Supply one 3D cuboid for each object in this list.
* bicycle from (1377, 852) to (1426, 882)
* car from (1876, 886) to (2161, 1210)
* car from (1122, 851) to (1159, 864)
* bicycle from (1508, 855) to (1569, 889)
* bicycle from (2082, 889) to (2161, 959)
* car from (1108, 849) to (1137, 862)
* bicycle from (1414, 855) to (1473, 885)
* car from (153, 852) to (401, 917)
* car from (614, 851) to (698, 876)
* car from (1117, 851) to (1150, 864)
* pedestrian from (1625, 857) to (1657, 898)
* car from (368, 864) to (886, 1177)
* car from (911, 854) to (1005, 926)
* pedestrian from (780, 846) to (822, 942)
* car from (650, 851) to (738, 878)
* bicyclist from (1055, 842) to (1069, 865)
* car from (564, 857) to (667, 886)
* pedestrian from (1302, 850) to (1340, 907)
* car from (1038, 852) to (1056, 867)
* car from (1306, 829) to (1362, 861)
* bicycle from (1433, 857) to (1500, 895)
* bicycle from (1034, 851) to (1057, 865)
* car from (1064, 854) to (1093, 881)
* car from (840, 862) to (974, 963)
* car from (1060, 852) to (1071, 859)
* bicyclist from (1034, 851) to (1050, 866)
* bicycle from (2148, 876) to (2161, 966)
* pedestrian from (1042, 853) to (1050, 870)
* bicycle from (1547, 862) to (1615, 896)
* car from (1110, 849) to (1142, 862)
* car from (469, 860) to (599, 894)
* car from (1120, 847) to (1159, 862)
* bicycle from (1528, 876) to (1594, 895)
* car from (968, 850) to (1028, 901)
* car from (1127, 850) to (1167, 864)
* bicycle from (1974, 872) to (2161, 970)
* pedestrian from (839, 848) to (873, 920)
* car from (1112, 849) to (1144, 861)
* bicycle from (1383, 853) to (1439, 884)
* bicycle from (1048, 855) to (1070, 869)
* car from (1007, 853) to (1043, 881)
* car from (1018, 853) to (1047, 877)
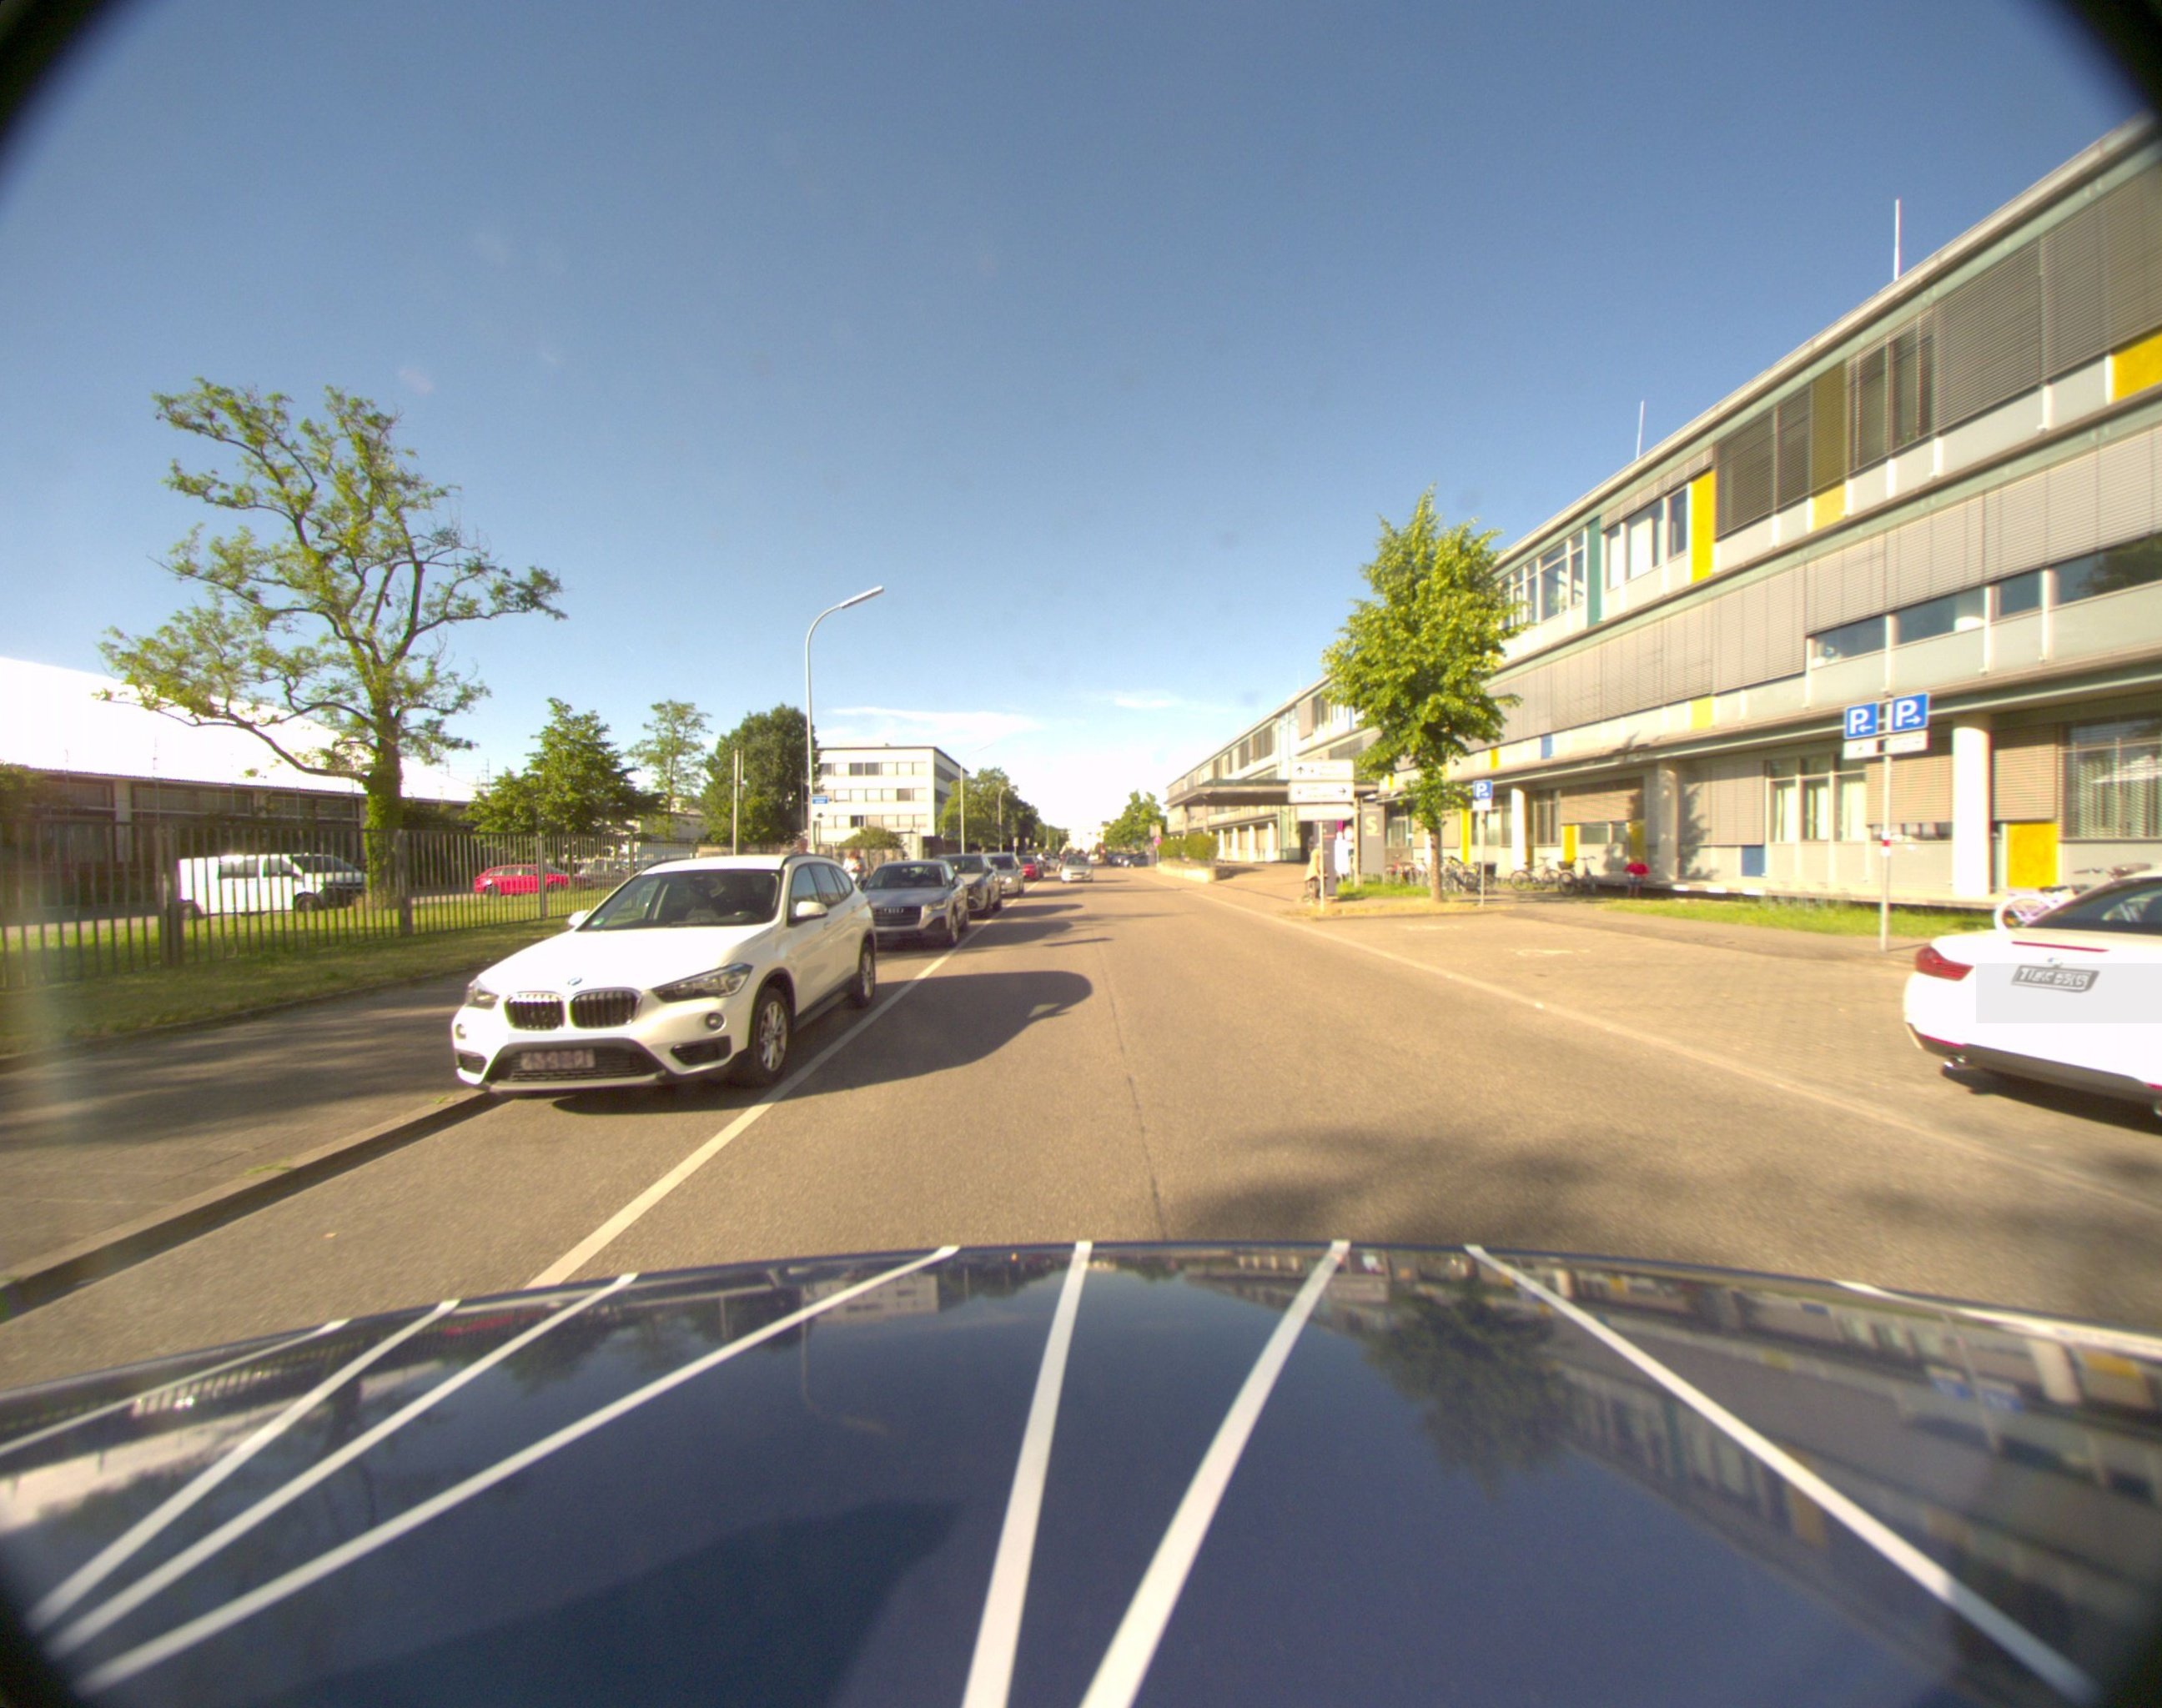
[{"bbox_3d":[12.179,0.501,28.868,1.721,1.117,0.536,-1,1,-10],"label":"bicycle"},{"bbox_3d":[7.163,0.863,3.833,4.523,1.359,1.699,-2,1,0],"label":"car"},{"bbox_3d":[6.670,0.375,85.246,3.998,1.429,1.730,-1,1,-3],"label":"car"},{"bbox_3d":[15.369,0.612,25.539,1.719,1.117,0.536,0,1,-2],"label":"bicycle"},{"bbox_3d":[14.063,0.913,9.804,0.370,0.858,1.450,0,1,1],"label":"bicycle"},{"bbox_3d":[6.483,0.187,119.548,4.359,1.852,2.000,-3,0,0],"label":"car"},{"bbox_3d":[11.989,0.531,25.168,1.720,0.968,0.536,0,1,-2],"label":"bicycle"},{"bbox_3d":[-24.093,0.874,22.955,4.979,1.635,2.095,-3,1,-3],"label":"car"},{"bbox_3d":[-24.633,0.516,44.165,3.899,1.371,1.674,-1,0,-3],"label":"car"},{"bbox_3d":[6.741,0.432,97.731,3.992,1.480,1.823,-2,1,-2],"label":"car"},{"bbox_3d":[16.397,0.678,22.256,0.533,1.166,0.556,-1,1,1],"label":"pedestrian"},{"bbox_3d":[-3.046,0.946,6.346,1.818,1.579,4.261,-2,0,-2],"label":"car"},{"bbox_3d":[-3.077,0.835,19.836,1.705,1.597,4.352,-2,0,0],"label":"car"},{"bbox_3d":[-5.117,0.710,13.919,0.522,1.699,0.522,-3,2,-7],"label":"pedestrian"},{"bbox_3d":[-25.044,0.659,49.263,4.642,1.658,1.999,-1,0,-6],"label":"car"},{"bbox_3d":[-1.764,-0.064,69.451,1.052,2.003,0.959,-5,3,0],"label":"bicyclist"},{"bbox_3d":[-24.343,0.892,39.881,4.154,1.245,1.878,-3,1,-3],"label":"car"},{"bbox_3d":[6.713,0.671,21.259,0.774,1.540,0.780,-3,2,0],"label":"pedestrian"},{"bbox_3d":[-3.516,0.547,78.787,1.668,1.505,4.113,-2,0,0],"label":"car"},{"bbox_3d":[15.972,-0.550,48.188,1.924,1.880,4.710,0,0,-1],"label":"car"},{"bbox_3d":[11.518,0.659,22.720,1.706,1.115,0.536,0,1,5],"label":"bicycle"},{"bbox_3d":[-3.069,0.346,65.691,1.899,1.136,0.668,1,0,15],"label":"bicycle"},{"bbox_3d":[-0.136,0.740,41.966,1.551,1.389,3.454,1,0,0],"label":"car"},{"bbox_3d":[-3.050,0.946,14.080,1.705,1.479,3.979,-2,0,-3],"label":"car"},{"bbox_3d":[-3.401,0.333,164.259,1.999,1.383,3.998,0,0,-5],"label":"car"},{"bbox_3d":[-3.346,0.420,65.565,1.098,1.261,0.863,-1,1,15],"label":"bicyclist"},{"bbox_3d":[13.668,0.841,8.703,0.421,1.117,1.763,0,1,1],"label":"bicycle"},{"bbox_3d":[-3.464,0.754,75.019,0.693,1.719,0.775,0,1,-1],"label":"pedestrian"},{"bbox_3d":[15.074,0.759,22.924,1.719,0.988,0.536,0,1,-2],"label":"bicycle"},{"bbox_3d":[6.540,0.210,110.637,4.361,1.618,1.999,-3,1,-5],"label":"car"},{"bbox_3d":[-23.575,0.972,32.866,4.154,1.245,1.828,-3,1,-3],"label":"car"},{"bbox_3d":[6.717,0.093,87.467,4.232,1.642,1.959,-1,1,-3],"label":"car"},{"bbox_3d":[15.024,0.973,23.794,1.719,0.548,0.536,0,1,-2],"label":"bicycle"},{"bbox_3d":[-3.090,0.743,29.112,1.814,1.712,4.703,-2,0,-1],"label":"car"},{"bbox_3d":[7.154,0.311,82.483,4.142,1.458,1.753,-1,1,-2],"label":"car"},{"bbox_3d":[12.967,0.818,9.908,0.536,1.105,1.861,0,1,3],"label":"bicycle"},{"bbox_3d":[-5.231,0.686,17.662,0.540,1.602,0.683,-3,2,-5],"label":"pedestrian"},{"bbox_3d":[6.481,0.128,104.732,4.102,1.415,1.823,-2,1,-2],"label":"car"},{"bbox_3d":[11.435,0.510,26.332,1.720,1.049,0.536,0,1,-2],"label":"bicycle"},{"bbox_3d":[-2.004,0.761,69.485,1.884,1.004,0.700,-5,9,-1],"label":"bicycle"},{"bbox_3d":[-3.300,0.751,45.488,1.814,1.501,4.721,-2,0,-1],"label":"car"},{"bbox_3d":[-3.255,0.718,51.293,1.705,1.479,4.214,-2,0,-1],"label":"car"}]
